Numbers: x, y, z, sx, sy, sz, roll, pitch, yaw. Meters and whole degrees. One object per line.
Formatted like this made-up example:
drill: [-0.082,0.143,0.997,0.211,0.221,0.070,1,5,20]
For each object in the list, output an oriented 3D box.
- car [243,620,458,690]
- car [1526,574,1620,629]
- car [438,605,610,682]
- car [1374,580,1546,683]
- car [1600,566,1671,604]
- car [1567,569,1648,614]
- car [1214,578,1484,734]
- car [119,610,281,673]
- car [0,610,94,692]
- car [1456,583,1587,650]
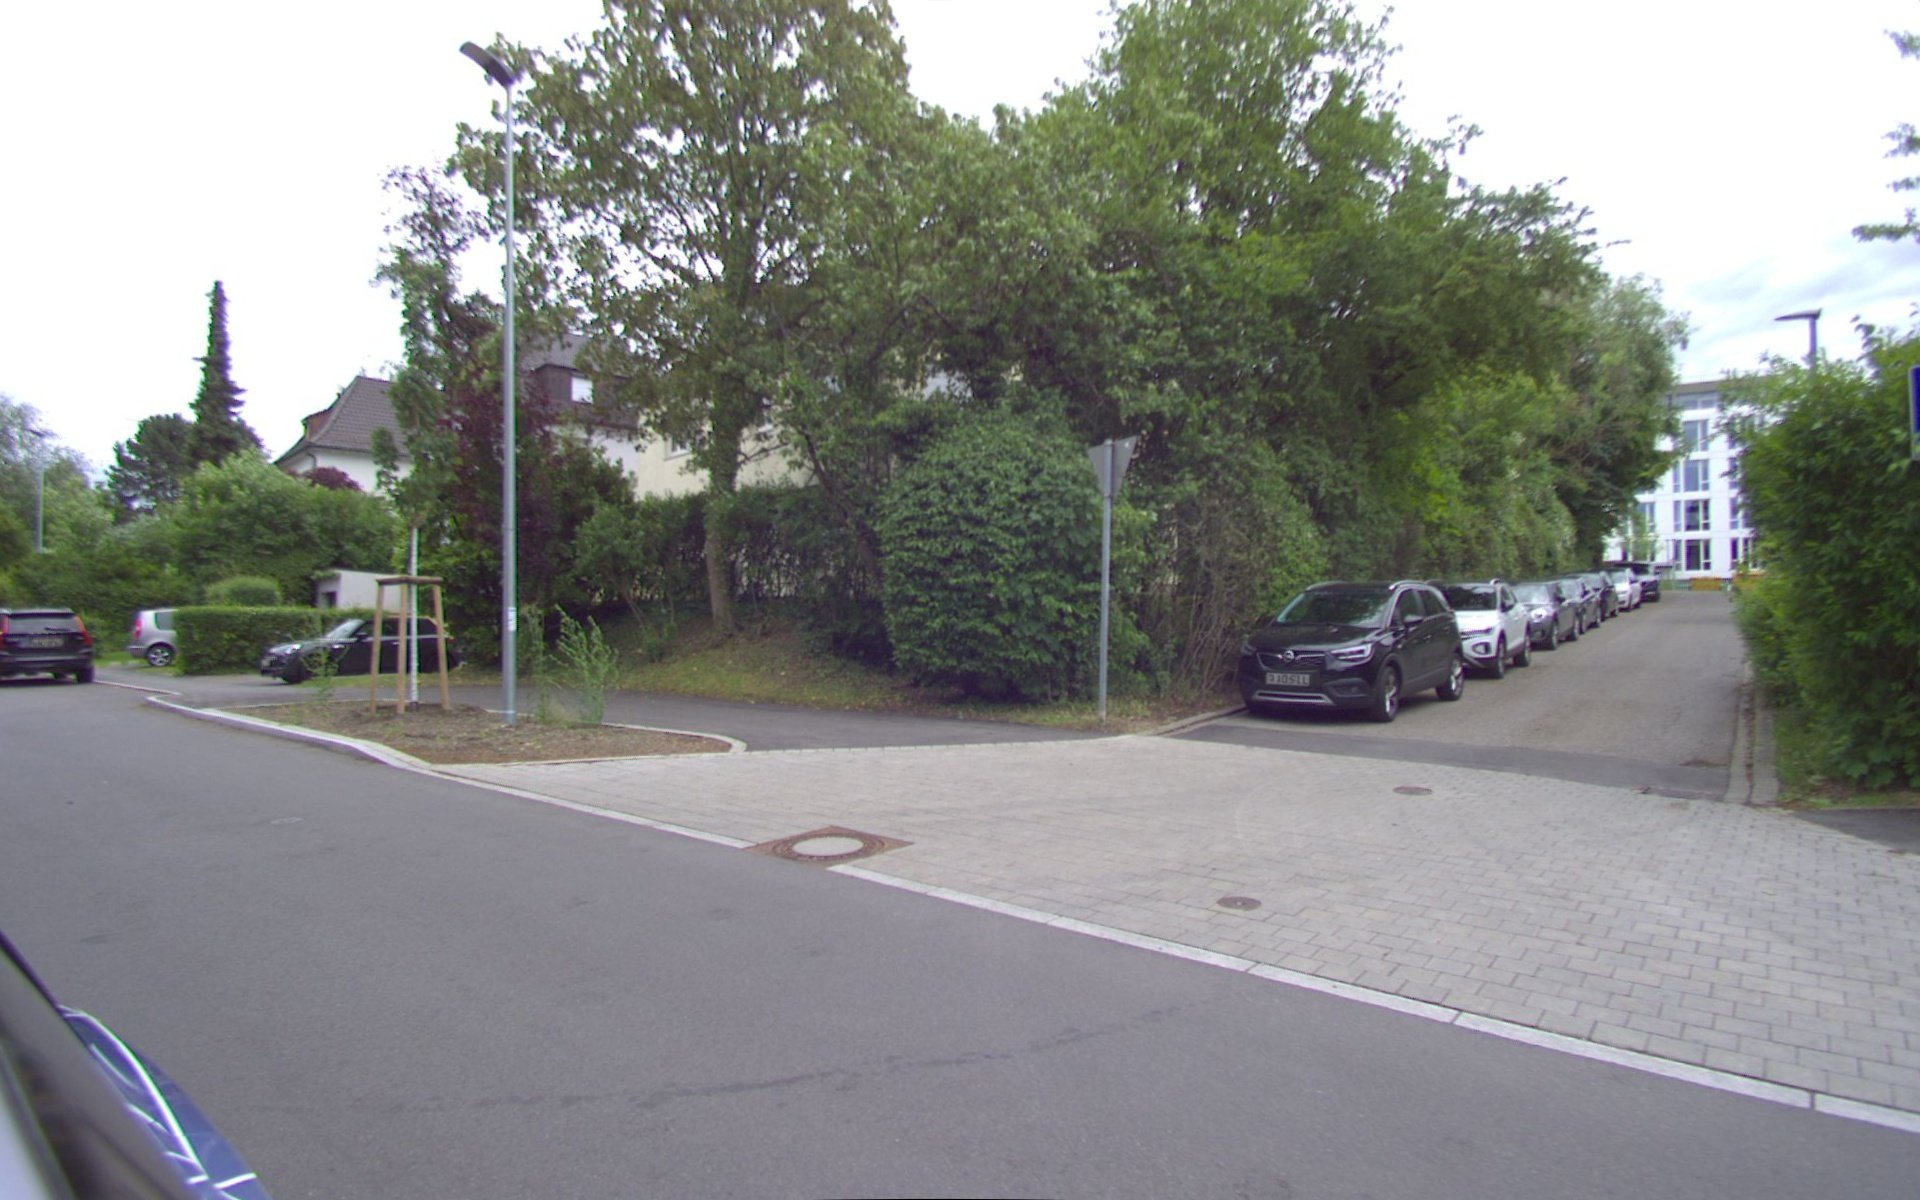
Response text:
car: [-13.530,1.187,22.609,1.777,1.396,3.783,-3,-3,41]
car: [17.027,0.012,28.056,1.786,1.407,3.484,-1,1,39]
car: [-11.165,1.156,26.027,2.010,1.807,3.507,-2,-5,43]
car: [8.576,0.455,17.186,1.865,1.505,3.949,-1,1,38]
car: [26.542,-0.611,39.741,1.788,1.407,3.603,-1,1,42]
car: [22.282,-0.308,34.802,1.788,1.407,3.481,-1,1,42]
car: [5.013,0.571,12.761,1.868,1.605,3.945,-1,1,42]
car: [-21.952,1.148,29.301,3.645,1.650,1.831,0,-1,-39]
car: [-22.369,1.156,24.041,5.186,1.750,1.954,-1,-1,41]
car: [12.452,0.333,22.350,1.867,1.301,3.482,-1,1,40]
